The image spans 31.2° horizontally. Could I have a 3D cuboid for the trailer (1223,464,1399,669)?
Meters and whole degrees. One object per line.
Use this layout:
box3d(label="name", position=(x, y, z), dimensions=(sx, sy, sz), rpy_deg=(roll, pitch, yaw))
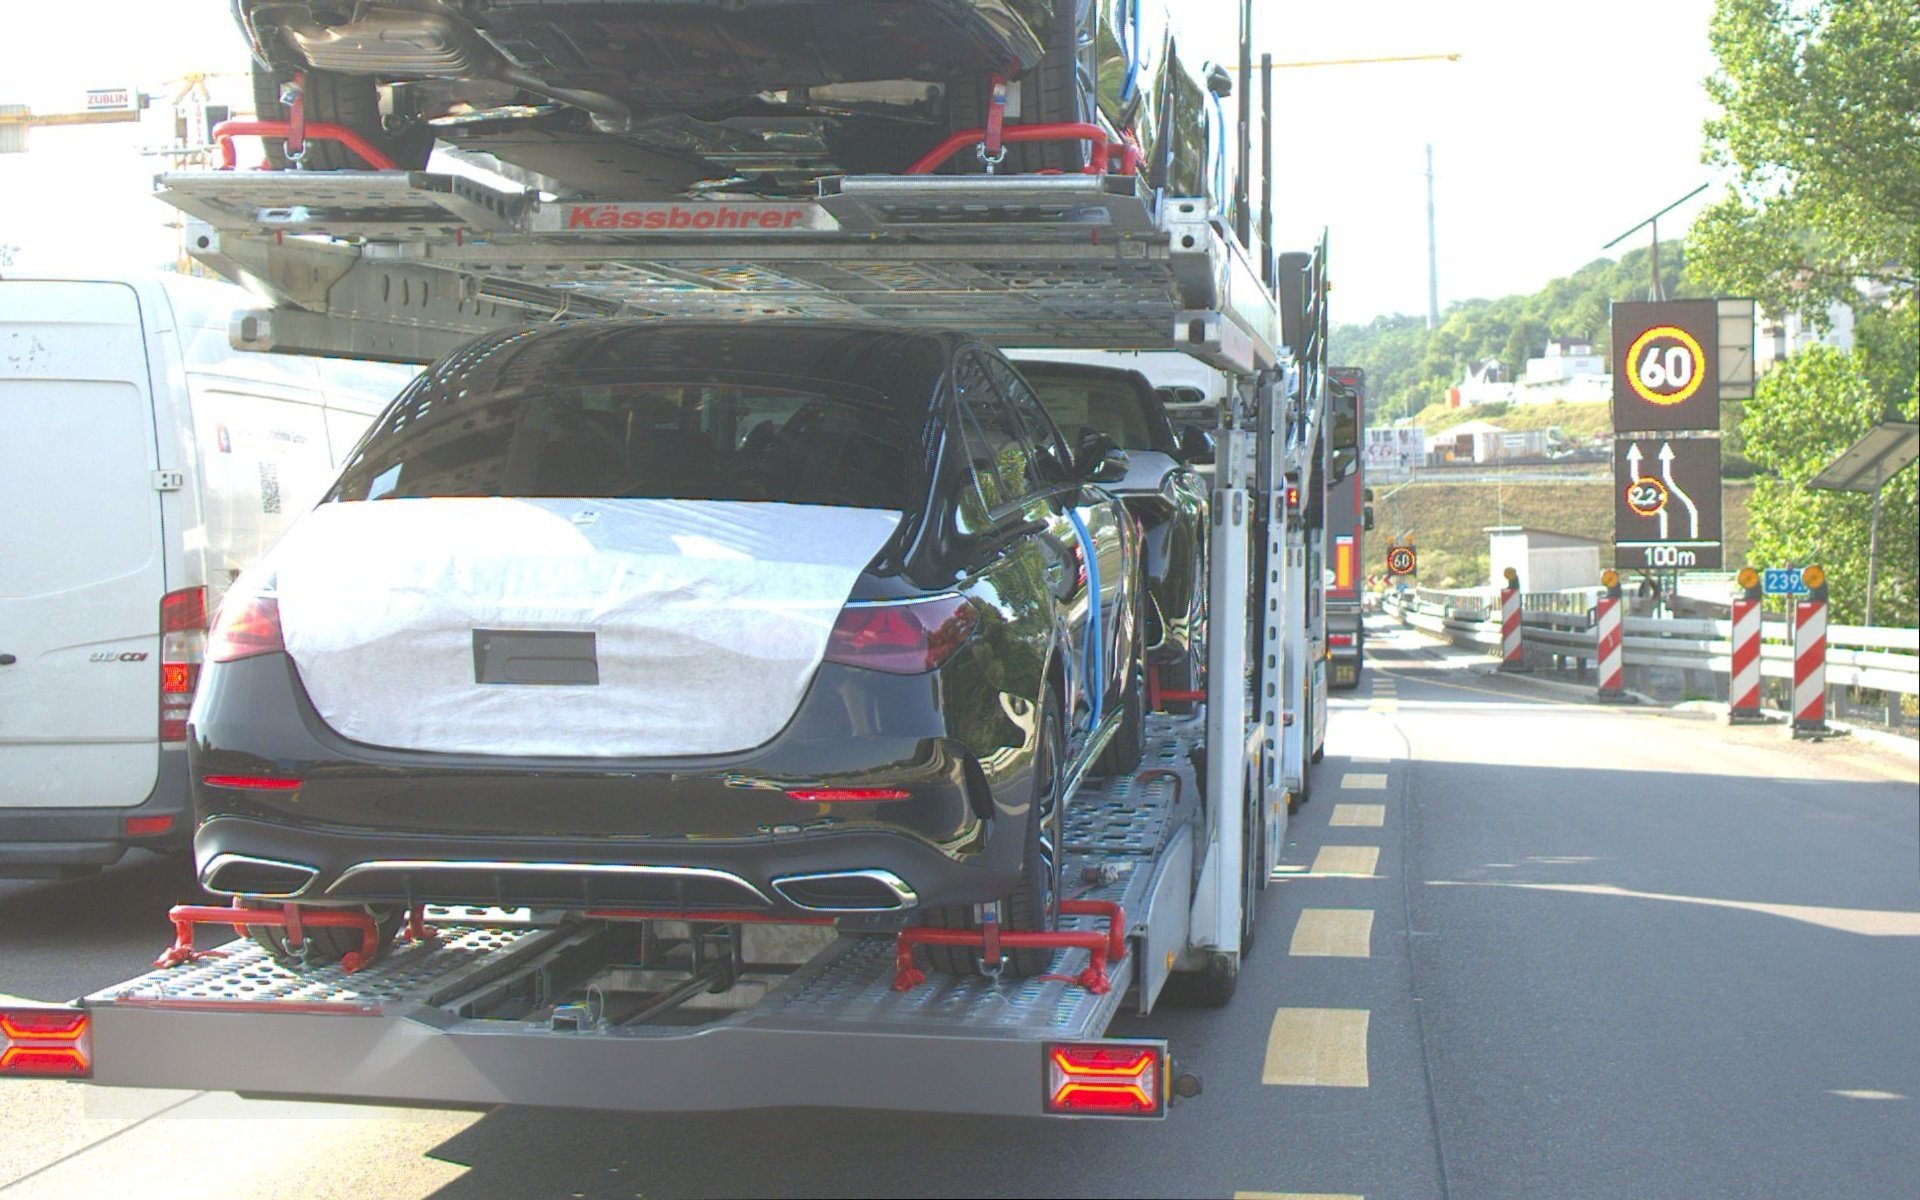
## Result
box3d(label="trailer", position=(7.735, -0.762, 74.894), dimensions=(3.385, 3.983, 14.742), rpy_deg=(-1, 1, 7))

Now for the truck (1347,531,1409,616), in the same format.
box3d(label="truck", position=(21.557, -1.407, 177.477), dimensions=(3.098, 4.271, 6.623), rpy_deg=(-1, 1, 7))

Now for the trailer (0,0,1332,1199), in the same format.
box3d(label="trailer", position=(0.063, -0.636, 14.628), dimensions=(2.858, 3.983, 15.742), rpy_deg=(-1, 1, 7))

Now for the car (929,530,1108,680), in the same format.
box3d(label="car", position=(0.748, 0.030, 41.141), dimensions=(1.830, 1.648, 3.999), rpy_deg=(-2, 1, 5))

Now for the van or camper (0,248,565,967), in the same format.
box3d(label="van or camper", position=(-3.483, -0.011, 15.543), dimensions=(1.994, 2.611, 5.902), rpy_deg=(0, 1, 7))

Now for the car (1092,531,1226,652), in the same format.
box3d(label="car", position=(2.983, -0.149, 50.931), dimensions=(1.830, 1.648, 3.999), rpy_deg=(-2, 1, 5))

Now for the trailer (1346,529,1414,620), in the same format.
box3d(label="trailer", position=(20.740, -1.300, 170.234), dimensions=(3.104, 4.299, 14.249), rpy_deg=(-1, 1, 7))

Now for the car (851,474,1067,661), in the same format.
box3d(label="car", position=(0.050, -0.339, 35.273), dimensions=(1.830, 1.746, 3.999), rpy_deg=(-2, 1, 5))

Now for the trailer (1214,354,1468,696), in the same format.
box3d(label="trailer", position=(5.371, -0.978, 47.291), dimensions=(2.959, 4.078, 10.790), rpy_deg=(-2, 1, 8))

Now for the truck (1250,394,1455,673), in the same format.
box3d(label="truck", position=(6.126, -1.005, 53.025), dimensions=(2.886, 3.983, 6.622), rpy_deg=(-1, 1, 8))

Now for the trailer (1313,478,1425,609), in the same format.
box3d(label="trailer", position=(13.490, -1.845, 113.761), dimensions=(3.385, 3.983, 14.742), rpy_deg=(-1, 1, 7))

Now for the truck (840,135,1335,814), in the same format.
box3d(label="truck", position=(1.105, -0.777, 23.743), dimensions=(2.849, 3.983, 6.623), rpy_deg=(-1, 1, 7))
